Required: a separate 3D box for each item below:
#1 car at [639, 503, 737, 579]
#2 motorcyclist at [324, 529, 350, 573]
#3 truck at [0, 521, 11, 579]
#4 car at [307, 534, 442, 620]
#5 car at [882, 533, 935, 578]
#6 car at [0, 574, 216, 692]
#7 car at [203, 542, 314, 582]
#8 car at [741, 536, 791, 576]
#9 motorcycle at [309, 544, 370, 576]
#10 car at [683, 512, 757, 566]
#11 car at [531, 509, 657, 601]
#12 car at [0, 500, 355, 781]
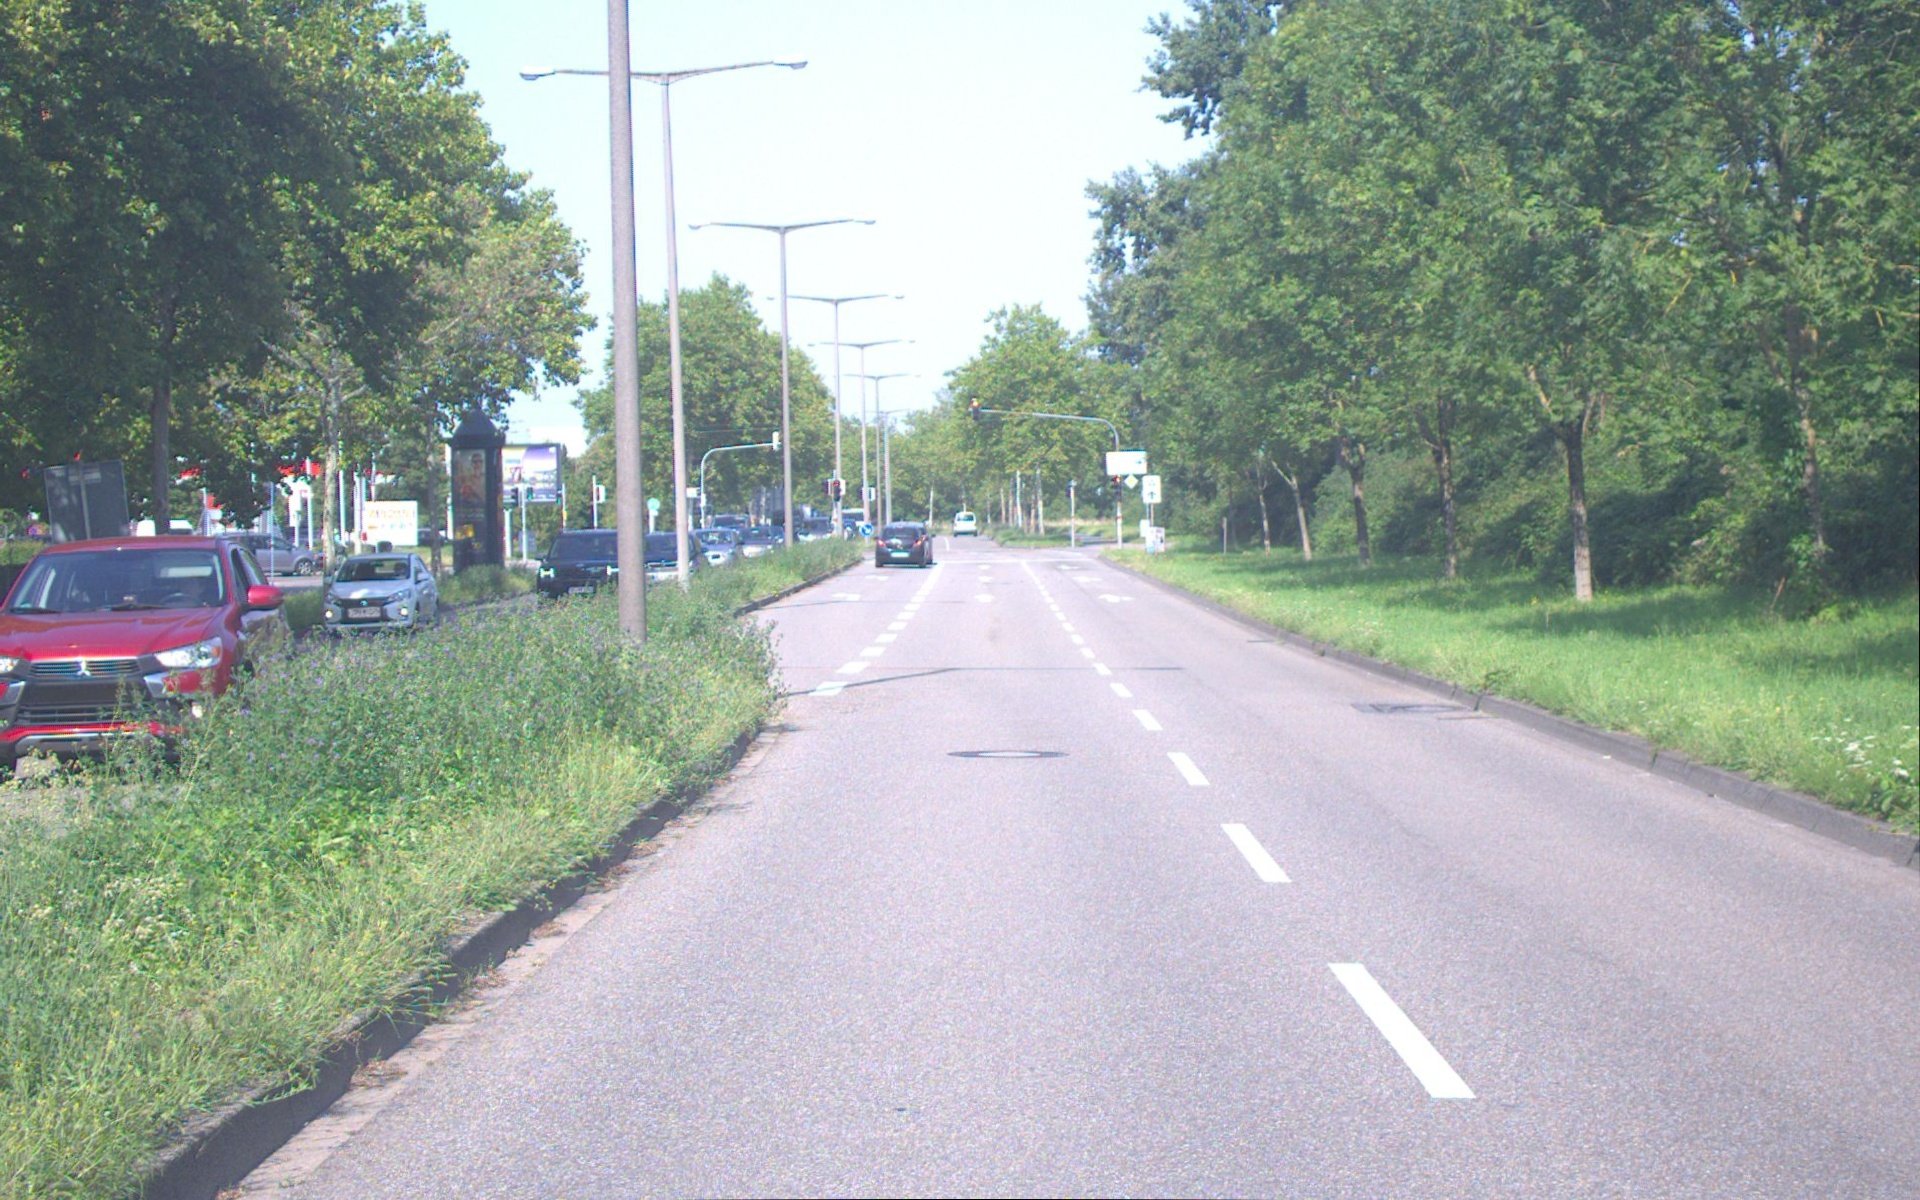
[{"bbox_3d":[-6.829,-1.484,86.657,1.993,1.753,4.307,-3,1,1],"label":"car"},{"bbox_3d":[-22.501,-1.779,124.080,0.681,1.566,0.683,-1,1,-35],"label":"motorcyclist"},{"bbox_3d":[-53.702,-2.412,176.245,8.986,2.947,3.514,-3,1,-35],"label":"truck"},{"bbox_3d":[-10.645,-0.446,62.697,1.790,1.477,4.000,-1,1,-1],"label":"car"},{"bbox_3d":[-1.754,-1.543,118.157,1.692,1.480,4.000,-1,1,0],"label":"car"},{"bbox_3d":[-10.573,0.374,42.183,1.791,1.258,4.095,-2,1,2],"label":"car"},{"bbox_3d":[-25.702,-1.401,126.019,3.691,1.438,1.466,-1,1,-35],"label":"car"},{"bbox_3d":[-7.249,-1.645,128.601,1.676,1.481,3.493,0,1,0],"label":"car"},{"bbox_3d":[-22.397,-1.447,124.160,2.069,1.132,0.677,-1,1,-35],"label":"motorcycle"},{"bbox_3d":[-7.194,-1.820,103.344,1.879,1.588,4.108,-1,1,0],"label":"car"},{"bbox_3d":[-7.562,-0.939,71.341,1.993,1.753,4.477,-3,1,1],"label":"car"},{"bbox_3d":[-5.587,0.214,23.664,1.954,1.718,4.587,-1,1,1],"label":"car"}]
